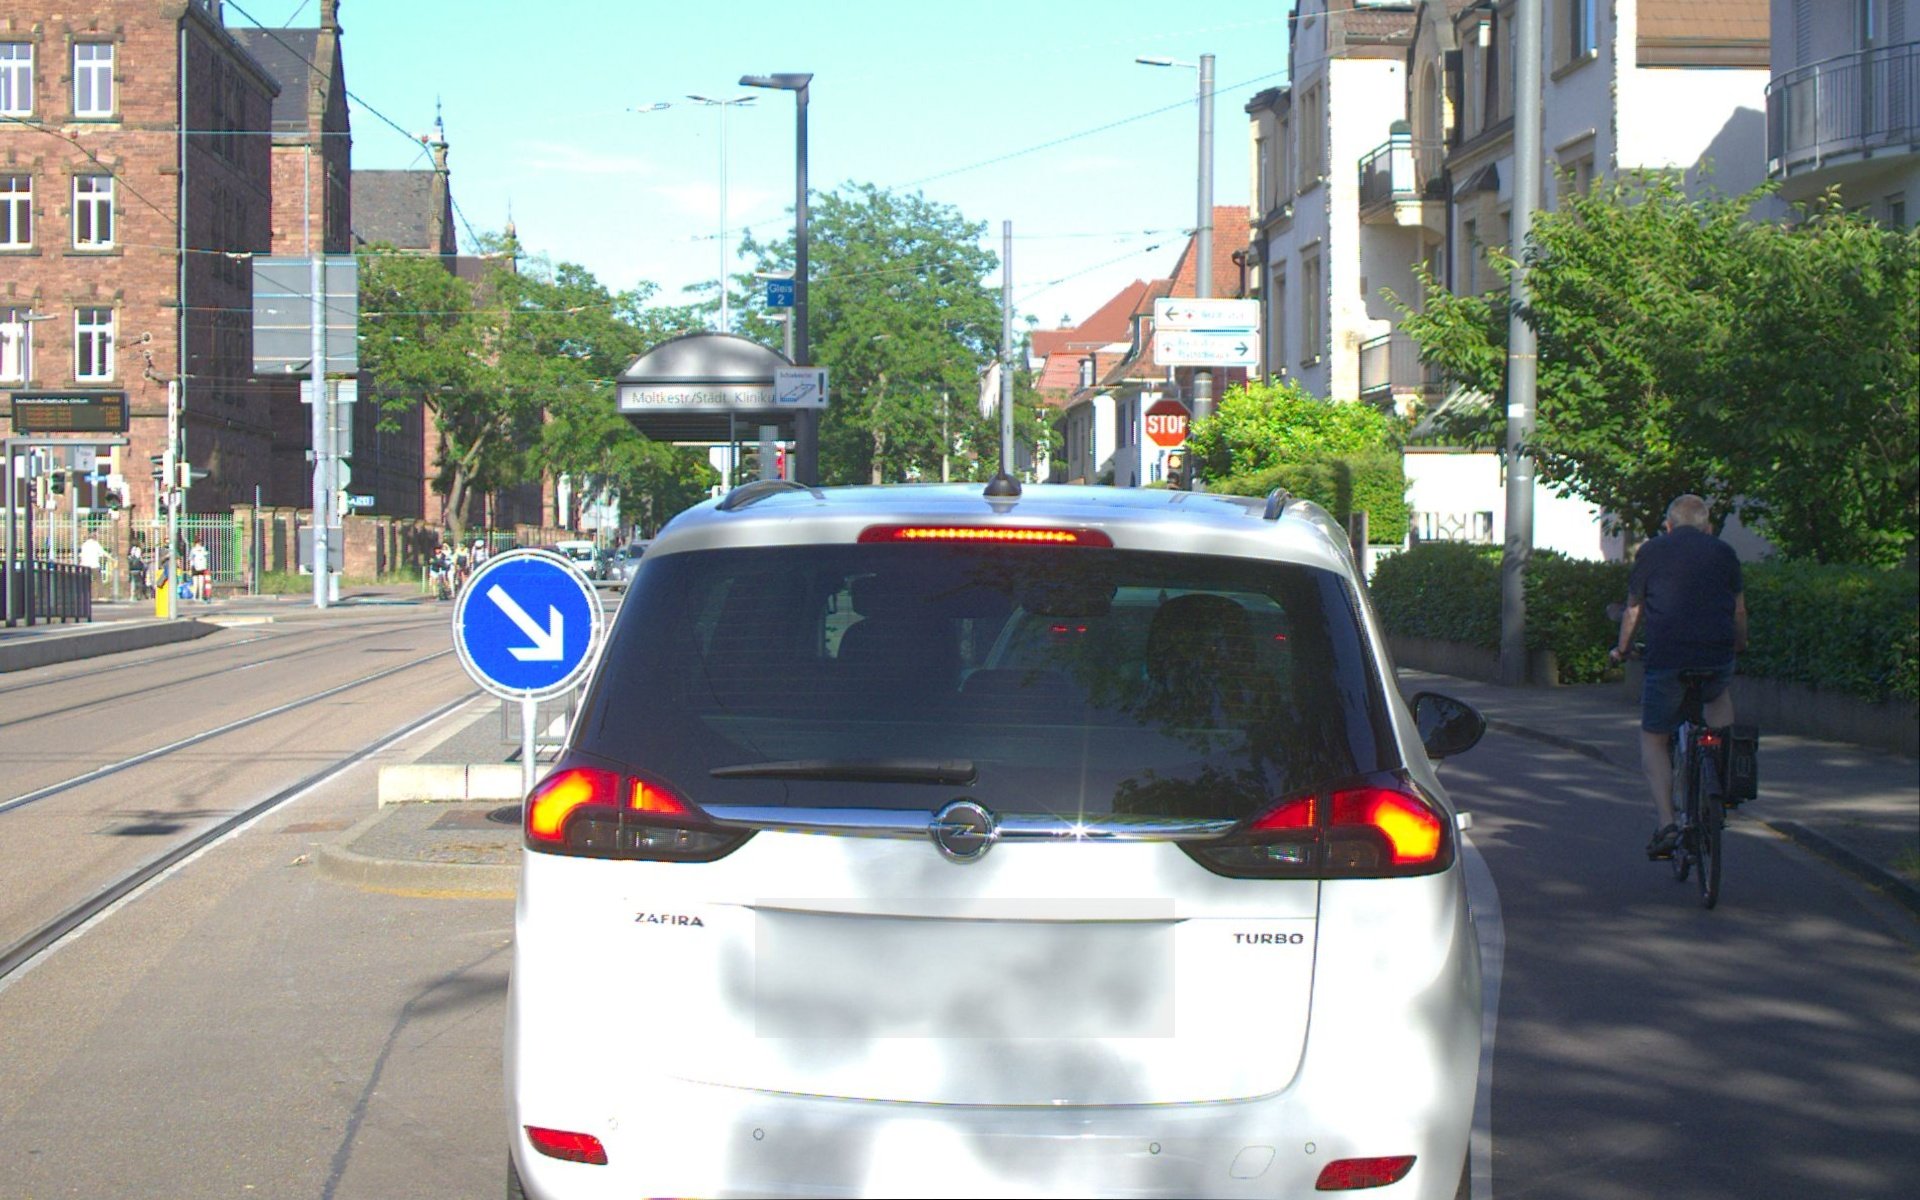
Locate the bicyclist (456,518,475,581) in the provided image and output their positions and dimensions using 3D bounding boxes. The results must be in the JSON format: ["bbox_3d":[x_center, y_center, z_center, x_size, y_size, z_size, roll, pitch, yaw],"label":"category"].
[{"bbox_3d":[-15.691,-1.612,109.083,0.498,2.007,0.572,0,1,-1],"label":"bicyclist"}]

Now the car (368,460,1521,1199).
[{"bbox_3d":[0.187,0.563,7.644,1.907,1.656,3.999,0,1,7],"label":"car"}]

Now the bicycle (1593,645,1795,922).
[{"bbox_3d":[3.244,0.780,15.338,0.624,1.093,1.973,0,1,5],"label":"bicycle"}]

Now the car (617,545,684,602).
[{"bbox_3d":[-9.637,-0.823,107.356,1.746,1.710,4.000,1,1,-1],"label":"car"}]

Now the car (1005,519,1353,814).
[{"bbox_3d":[1.430,0.328,20.991,1.907,1.619,3.999,0,1,7],"label":"car"}]

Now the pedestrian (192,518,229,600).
[{"bbox_3d":[-18.526,-1.003,84.969,0.794,2.007,0.721,1,0,-17],"label":"pedestrian"}]

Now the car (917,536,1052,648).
[{"bbox_3d":[0.339,-0.152,53.083,1.907,1.656,4.001,0,1,-2],"label":"car"}]

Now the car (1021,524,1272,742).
[{"bbox_3d":[1.567,0.215,28.268,1.907,1.656,4.000,0,1,4],"label":"car"}]

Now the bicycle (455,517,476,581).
[{"bbox_3d":[-15.694,-1.612,109.078,0.487,2.007,1.405,0,1,0],"label":"bicycle"}]

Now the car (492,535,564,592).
[{"bbox_3d":[-13.424,-1.123,107.039,1.746,1.710,4.000,1,1,-1],"label":"car"}]

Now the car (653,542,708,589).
[{"bbox_3d":[-10.485,-1.300,129.064,1.746,1.710,4.000,1,1,-1],"label":"car"}]

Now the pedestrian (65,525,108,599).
[{"bbox_3d":[-22.621,-0.982,89.015,0.808,1.894,0.743,1,0,14],"label":"pedestrian"}]

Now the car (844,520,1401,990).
[{"bbox_3d":[0.781,0.490,13.768,1.907,1.592,3.999,0,1,7],"label":"car"}]

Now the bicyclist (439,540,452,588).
[{"bbox_3d":[-15.423,-1.069,103.037,0.313,1.439,0.384,0,1,-1],"label":"bicyclist"}]

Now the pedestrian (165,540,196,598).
[{"bbox_3d":[-21.597,-0.864,95.282,0.654,1.606,0.711,1,0,2],"label":"pedestrian"}]

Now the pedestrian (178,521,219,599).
[{"bbox_3d":[-19.710,-1.032,88.963,0.795,2.007,0.720,1,0,-37],"label":"pedestrian"}]

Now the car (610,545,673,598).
[{"bbox_3d":[-10.648,-0.953,115.212,1.746,1.710,4.000,1,1,-1],"label":"car"}]

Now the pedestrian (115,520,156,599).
[{"bbox_3d":[-21.196,-1.047,88.341,0.795,2.007,0.720,1,0,-34],"label":"pedestrian"}]

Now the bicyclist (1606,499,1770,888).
[{"bbox_3d":[3.231,0.398,15.305,0.616,1.681,0.779,0,1,5],"label":"bicyclist"}]

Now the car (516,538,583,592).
[{"bbox_3d":[-13.550,-1.159,113.707,1.746,1.710,4.000,1,1,-1],"label":"car"}]

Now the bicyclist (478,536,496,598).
[{"bbox_3d":[-15.386,-1.061,111.922,0.488,2.007,0.502,1,0,-1],"label":"bicyclist"}]

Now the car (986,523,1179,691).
[{"bbox_3d":[1.244,0.034,36.105,1.907,1.656,4.000,0,1,1],"label":"car"}]
